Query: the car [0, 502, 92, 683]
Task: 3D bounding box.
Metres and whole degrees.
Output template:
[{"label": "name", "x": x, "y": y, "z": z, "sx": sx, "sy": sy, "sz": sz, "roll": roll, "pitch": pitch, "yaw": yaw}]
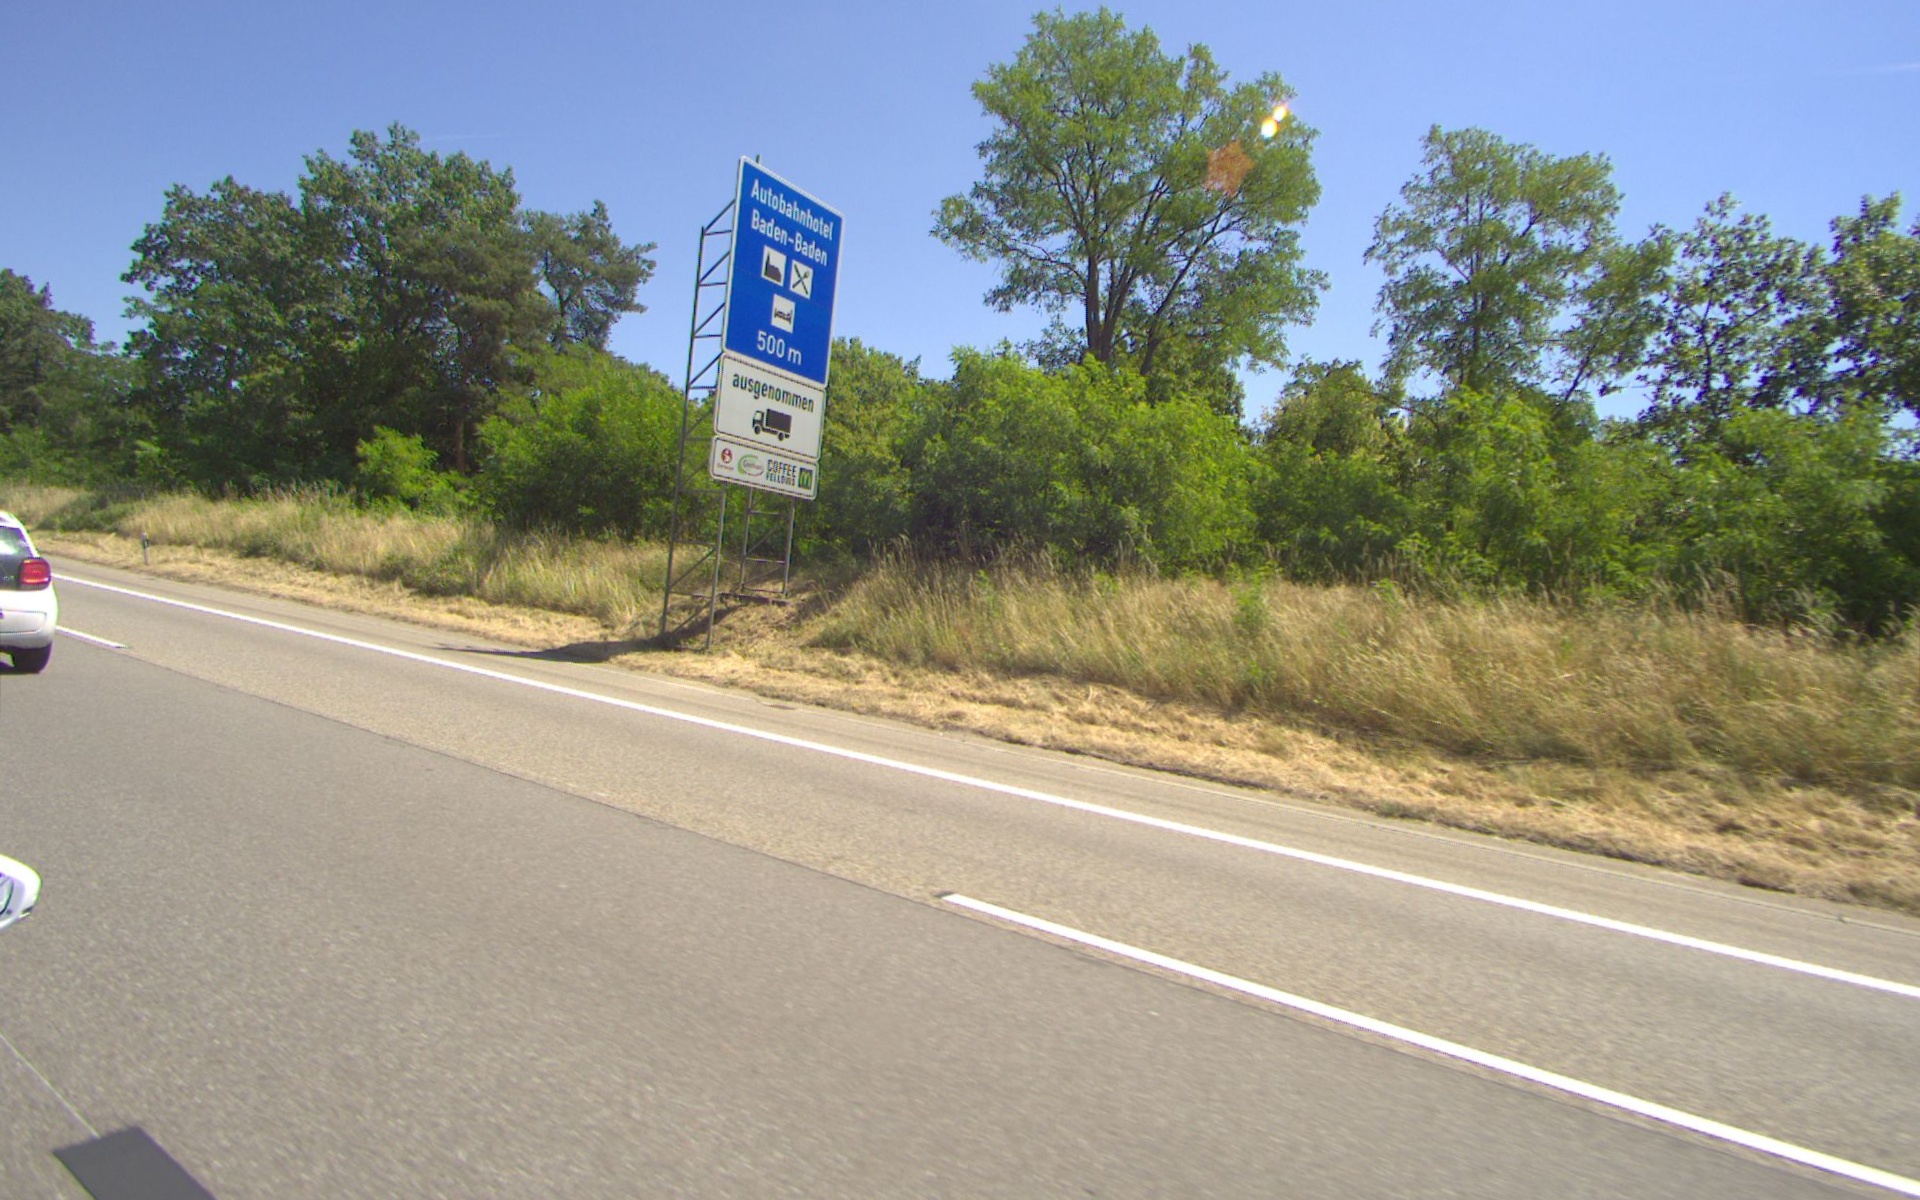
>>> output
[{"label": "car", "x": -9.946, "y": -0.274, "z": 9.324, "sx": 3.958, "sy": 1.513, "sz": 1.711, "roll": 6, "pitch": -1, "yaw": 32}]
